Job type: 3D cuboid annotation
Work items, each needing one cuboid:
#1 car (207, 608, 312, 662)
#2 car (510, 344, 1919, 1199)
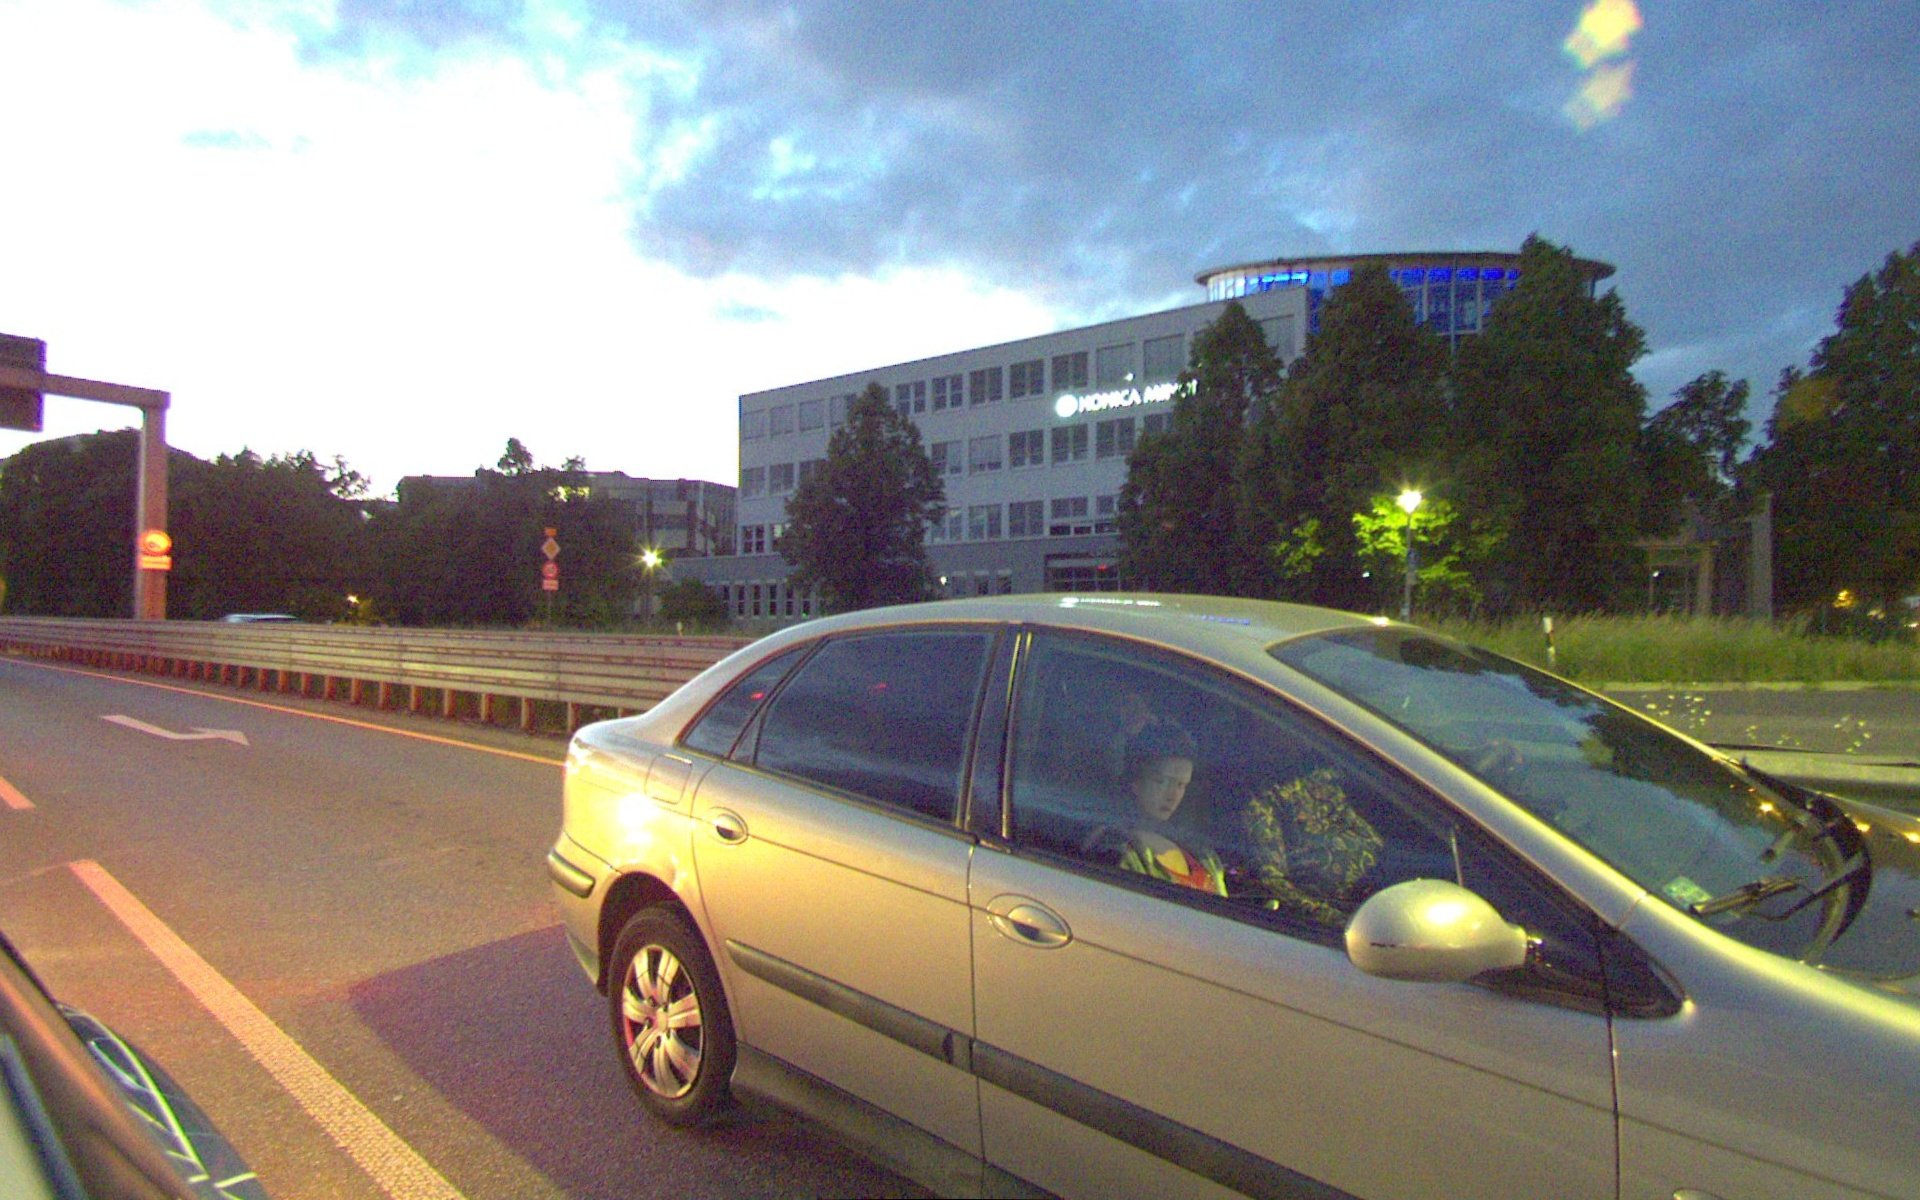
[{"bbox_3d":[-20.512,1.003,29.580,4.111,1.454,1.738,-2,-2,44],"label":"car"},{"bbox_3d":[0.740,0.569,2.429,4.409,1.665,1.648,-1,0,42],"label":"car"}]
